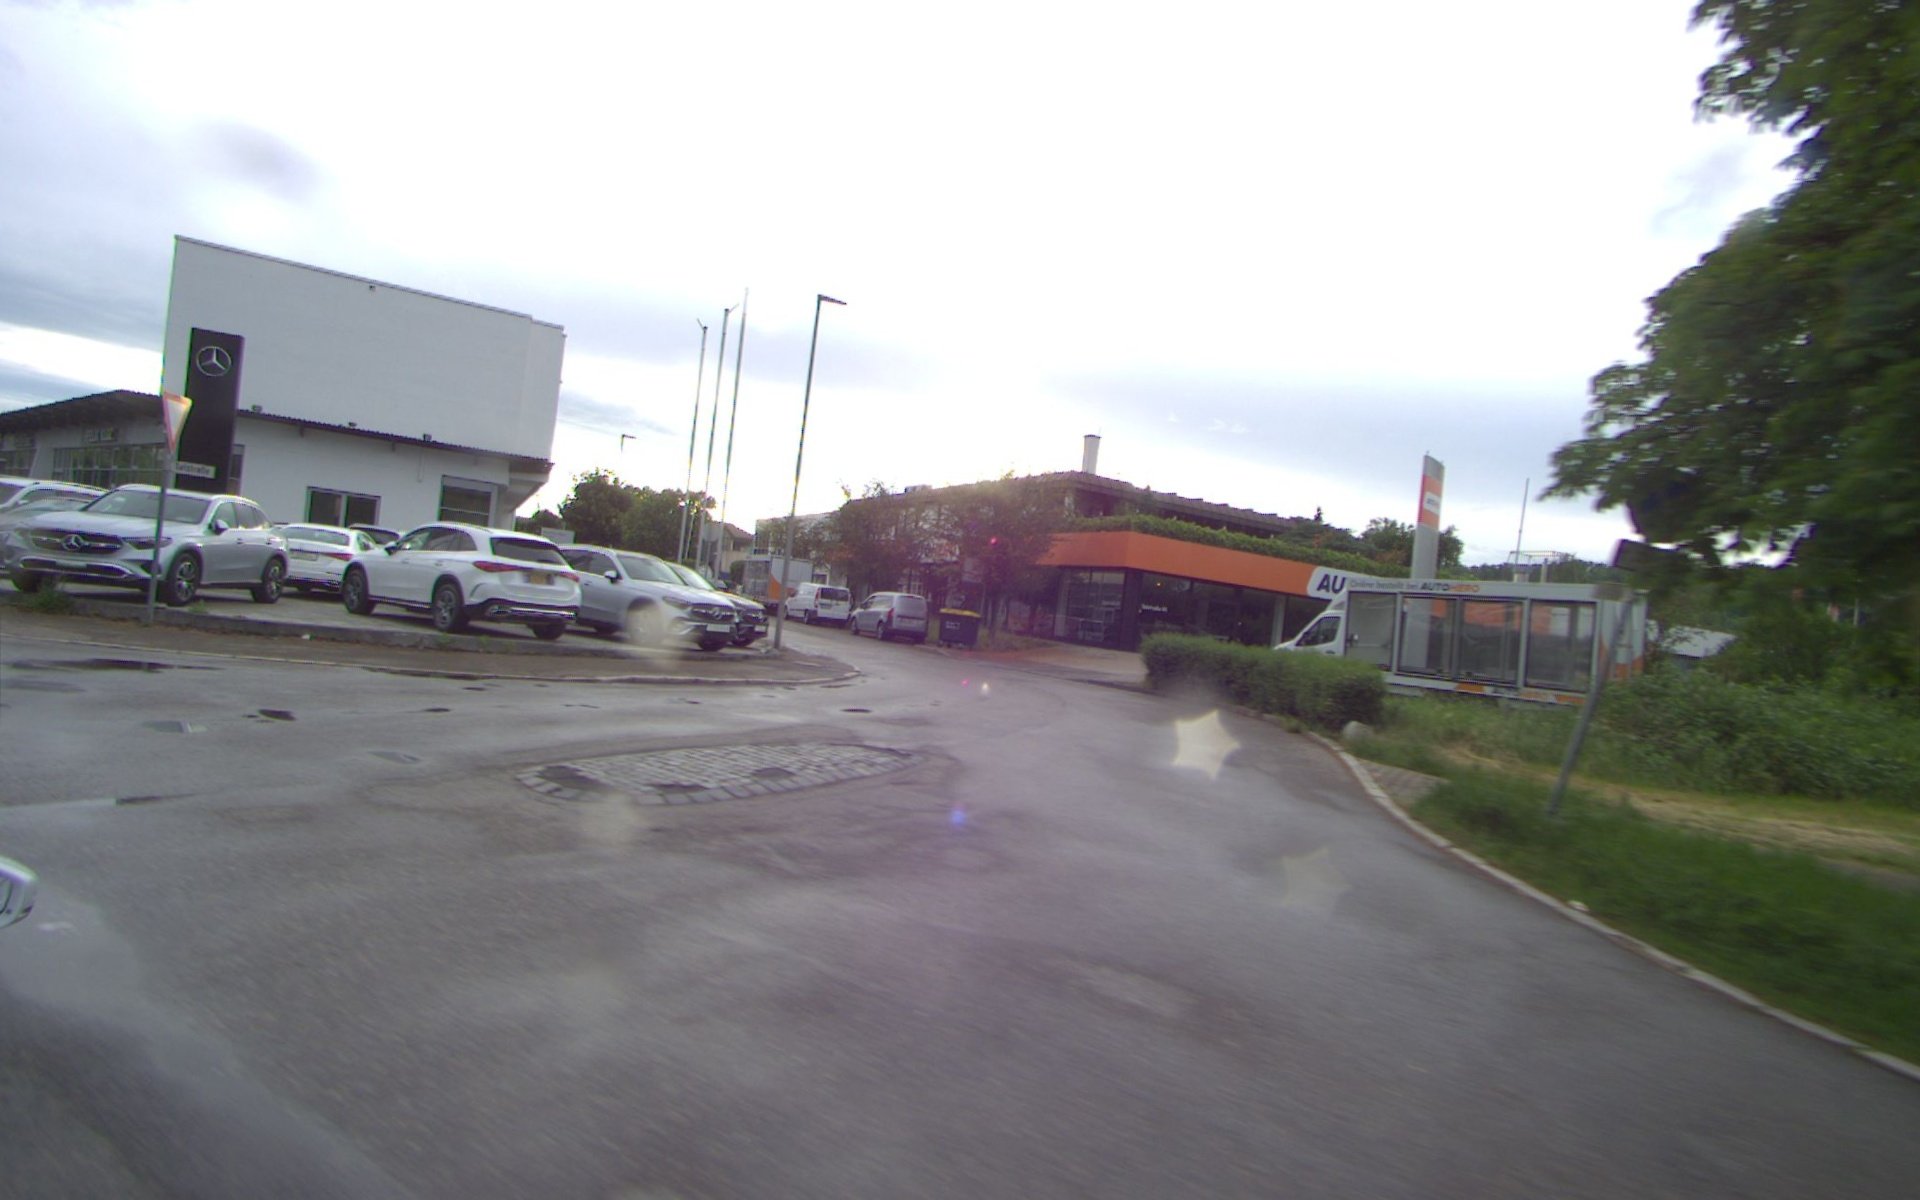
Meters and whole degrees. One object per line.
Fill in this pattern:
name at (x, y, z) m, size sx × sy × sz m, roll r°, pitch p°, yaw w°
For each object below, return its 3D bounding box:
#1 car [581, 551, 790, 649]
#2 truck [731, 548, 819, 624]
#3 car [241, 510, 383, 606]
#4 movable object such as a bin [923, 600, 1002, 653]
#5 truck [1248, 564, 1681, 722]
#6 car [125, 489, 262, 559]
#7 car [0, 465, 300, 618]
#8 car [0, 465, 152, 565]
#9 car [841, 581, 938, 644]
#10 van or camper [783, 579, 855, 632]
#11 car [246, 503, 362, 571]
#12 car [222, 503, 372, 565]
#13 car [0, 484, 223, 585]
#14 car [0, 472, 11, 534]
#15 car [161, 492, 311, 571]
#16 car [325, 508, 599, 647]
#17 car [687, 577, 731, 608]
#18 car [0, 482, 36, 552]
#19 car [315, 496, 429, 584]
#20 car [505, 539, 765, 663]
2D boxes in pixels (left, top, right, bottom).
car at (-6.062, 0.006, 22.235) m, size 4.047 × 1.624 × 1.848 m, roll 7°, pitch 0°, yaw 23°
truck at (-9.996, -0.762, 53.757) m, size 2.542 × 3.453 × 6.608 m, roll 8°, pitch -2°, yaw -26°
car at (-13.023, -0.858, 20.474) m, size 1.944 × 1.517 × 4.333 m, roll 7°, pitch 0°, yaw -28°
movable object such as a bin at (0.113, 0.945, 35.444) m, size 1.962 × 1.504 × 2.390 m, roll 7°, pitch -2°, yaw 18°
truck at (10.986, 0.777, 23.047) m, size 2.764 × 2.653 × 8.399 m, roll 9°, pitch -2°, yaw -34°
car at (-21.358, -2.073, 28.235) m, size 1.877 × 1.565 × 3.980 m, roll 7°, pitch 1°, yaw -21°
car at (-11.697, -0.769, 14.747) m, size 1.936 × 1.691 × 4.352 m, roll 7°, pitch 0°, yaw -15°
car at (-17.994, -1.671, 18.954) m, size 1.892 × 1.673 × 4.425 m, roll 7°, pitch 0°, yaw -1°
car at (-2.840, 0.443, 39.542) m, size 1.815 × 2.037 × 4.416 m, roll 8°, pitch -2°, yaw -31°
van or camper at (-6.570, 0.209, 46.502) m, size 1.789 × 2.065 × 3.970 m, roll 7°, pitch 0°, yaw -29°
car at (-18.563, -1.772, 28.657) m, size 1.878 × 1.565 × 3.978 m, roll 7°, pitch 1°, yaw -22°
car at (-20.942, -2.082, 31.933) m, size 3.510 × 1.497 × 1.772 m, roll 6°, pitch 2°, yaw -18°
car at (-15.019, -1.109, 16.989) m, size 1.817 × 1.412 × 4.141 m, roll 7°, pitch 0°, yaw 4°
car at (-26.080, -2.588, 25.096) m, size 1.816 × 1.654 × 4.346 m, roll 5°, pitch 1°, yaw -20°
car at (-16.827, -1.526, 23.605) m, size 1.655 × 1.472 × 3.912 m, roll 1°, pitch -1°, yaw -17°
car at (-8.145, -0.404, 16.290) m, size 4.634 × 1.693 × 1.809 m, roll 7°, pitch 0°, yaw 34°
car at (-16.527, -0.512, 66.154) m, size 1.975 × 1.615 × 3.976 m, roll 7°, pitch 0°, yaw -25°
car at (-22.862, -1.973, 22.532) m, size 1.706 × 1.620 × 3.797 m, roll 5°, pitch 1°, yaw -19°
car at (-14.700, -1.415, 25.353) m, size 1.656 × 1.739 × 3.984 m, roll 8°, pitch -3°, yaw -21°
car at (-6.044, 0.006, 18.629) m, size 4.428 × 1.697 × 2.025 m, roll 7°, pitch 0°, yaw 31°
